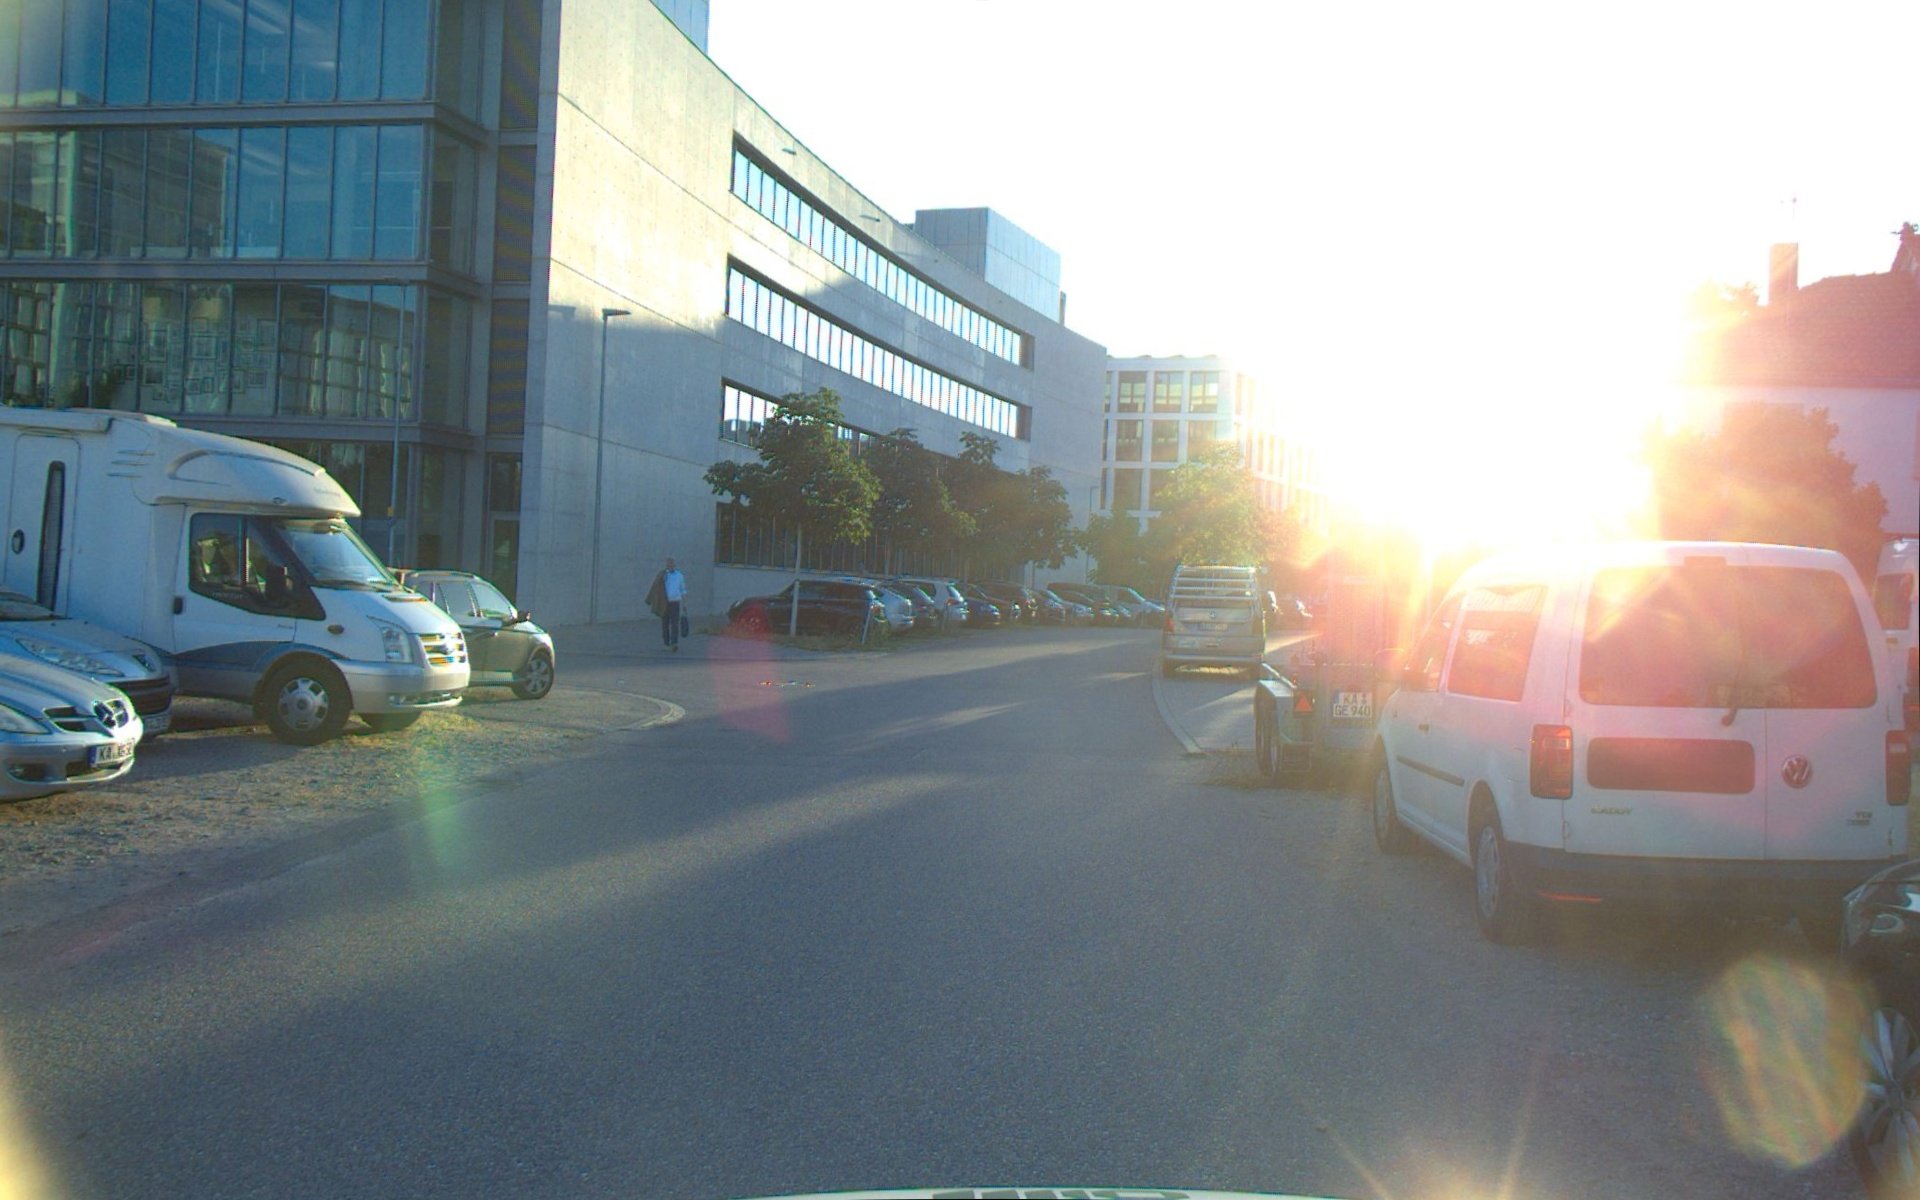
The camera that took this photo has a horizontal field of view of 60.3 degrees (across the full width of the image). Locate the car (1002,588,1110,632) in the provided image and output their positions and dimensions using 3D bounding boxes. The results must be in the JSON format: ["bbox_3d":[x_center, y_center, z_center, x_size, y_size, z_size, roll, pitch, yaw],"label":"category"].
[{"bbox_3d":[4.195,0.427,72.194,4.310,1.525,1.762,5,0,23],"label":"car"}]

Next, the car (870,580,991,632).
[{"bbox_3d":[-0.920,0.176,52.423,3.556,1.385,1.687,3,1,8],"label":"car"}]

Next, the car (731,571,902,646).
[{"bbox_3d":[-3.364,0.184,39.172,3.656,1.507,1.771,4,1,7],"label":"car"}]

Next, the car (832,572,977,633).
[{"bbox_3d":[-1.633,0.066,49.078,3.903,1.537,1.761,4,1,12],"label":"car"}]

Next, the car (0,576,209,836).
[{"bbox_3d":[-6.784,0.490,9.894,3.730,1.351,1.693,4,0,-1],"label":"car"}]

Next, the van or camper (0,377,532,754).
[{"bbox_3d":[-7.612,-0.383,15.116,6.601,2.948,2.409,3,0,2],"label":"van or camper"}]

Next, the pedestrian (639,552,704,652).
[{"bbox_3d":[-5.612,0.035,32.196,0.842,1.882,0.896,2,1,44],"label":"pedestrian"}]

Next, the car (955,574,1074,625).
[{"bbox_3d":[2.145,-0.014,64.151,4.218,1.726,1.897,3,0,15],"label":"car"}]

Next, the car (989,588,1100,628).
[{"bbox_3d":[3.564,0.325,69.909,4.341,1.489,1.764,3,1,19],"label":"car"}]

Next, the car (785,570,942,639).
[{"bbox_3d":[-2.550,0.106,44.226,3.914,1.538,1.586,4,2,6],"label":"car"}]

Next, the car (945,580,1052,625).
[{"bbox_3d":[1.449,0.096,61.589,3.624,1.483,1.680,3,0,15],"label":"car"}]

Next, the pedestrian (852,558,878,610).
[{"bbox_3d":[-3.388,-0.563,58.975,0.632,1.815,0.725,3,0,13],"label":"pedestrian"}]

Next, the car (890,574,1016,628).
[{"bbox_3d":[-0.202,0.020,54.684,3.788,1.537,1.761,4,1,13],"label":"car"}]

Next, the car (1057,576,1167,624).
[{"bbox_3d":[7.480,0.001,81.635,4.973,1.980,1.889,5,0,20],"label":"car"}]

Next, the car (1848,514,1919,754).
[{"bbox_3d":[13.723,0.488,19.321,5.446,2.739,2.055,3,2,15],"label":"car"}]

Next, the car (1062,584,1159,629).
[{"bbox_3d":[7.095,0.295,78.145,4.160,1.772,1.725,5,0,19],"label":"car"}]

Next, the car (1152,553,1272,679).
[{"bbox_3d":[4.805,0.256,31.328,2.021,2.131,4.876,2,1,9],"label":"car"}]

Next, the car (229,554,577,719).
[{"bbox_3d":[-6.101,0.384,18.740,1.651,1.545,4.364,4,0,12],"label":"car"}]

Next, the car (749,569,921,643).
[{"bbox_3d":[-3.133,0.135,41.928,4.000,1.555,1.847,4,1,6],"label":"car"}]

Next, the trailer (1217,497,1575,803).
[{"bbox_3d":[3.697,0.347,15.116,2.021,2.250,5.224,2,1,2],"label":"trailer"}]

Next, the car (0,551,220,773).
[{"bbox_3d":[-7.789,0.361,12.521,3.533,1.502,1.692,4,0,-4],"label":"car"}]

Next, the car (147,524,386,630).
[{"bbox_3d":[-13.720,-0.480,32.805,3.999,1.863,1.849,3,2,11],"label":"car"}]

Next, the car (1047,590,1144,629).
[{"bbox_3d":[6.269,0.438,76.389,4.059,1.428,1.725,5,0,19],"label":"car"}]

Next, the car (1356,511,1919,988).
[{"bbox_3d":[3.383,0.573,8.818,1.734,1.863,4.410,2,1,4],"label":"car"}]

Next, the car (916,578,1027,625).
[{"bbox_3d":[0.426,0.054,59.604,3.624,1.483,1.713,3,0,14],"label":"car"}]

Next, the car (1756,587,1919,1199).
[{"bbox_3d":[3.013,0.774,2.770,1.668,1.545,4.091,2,0,5],"label":"car"}]
